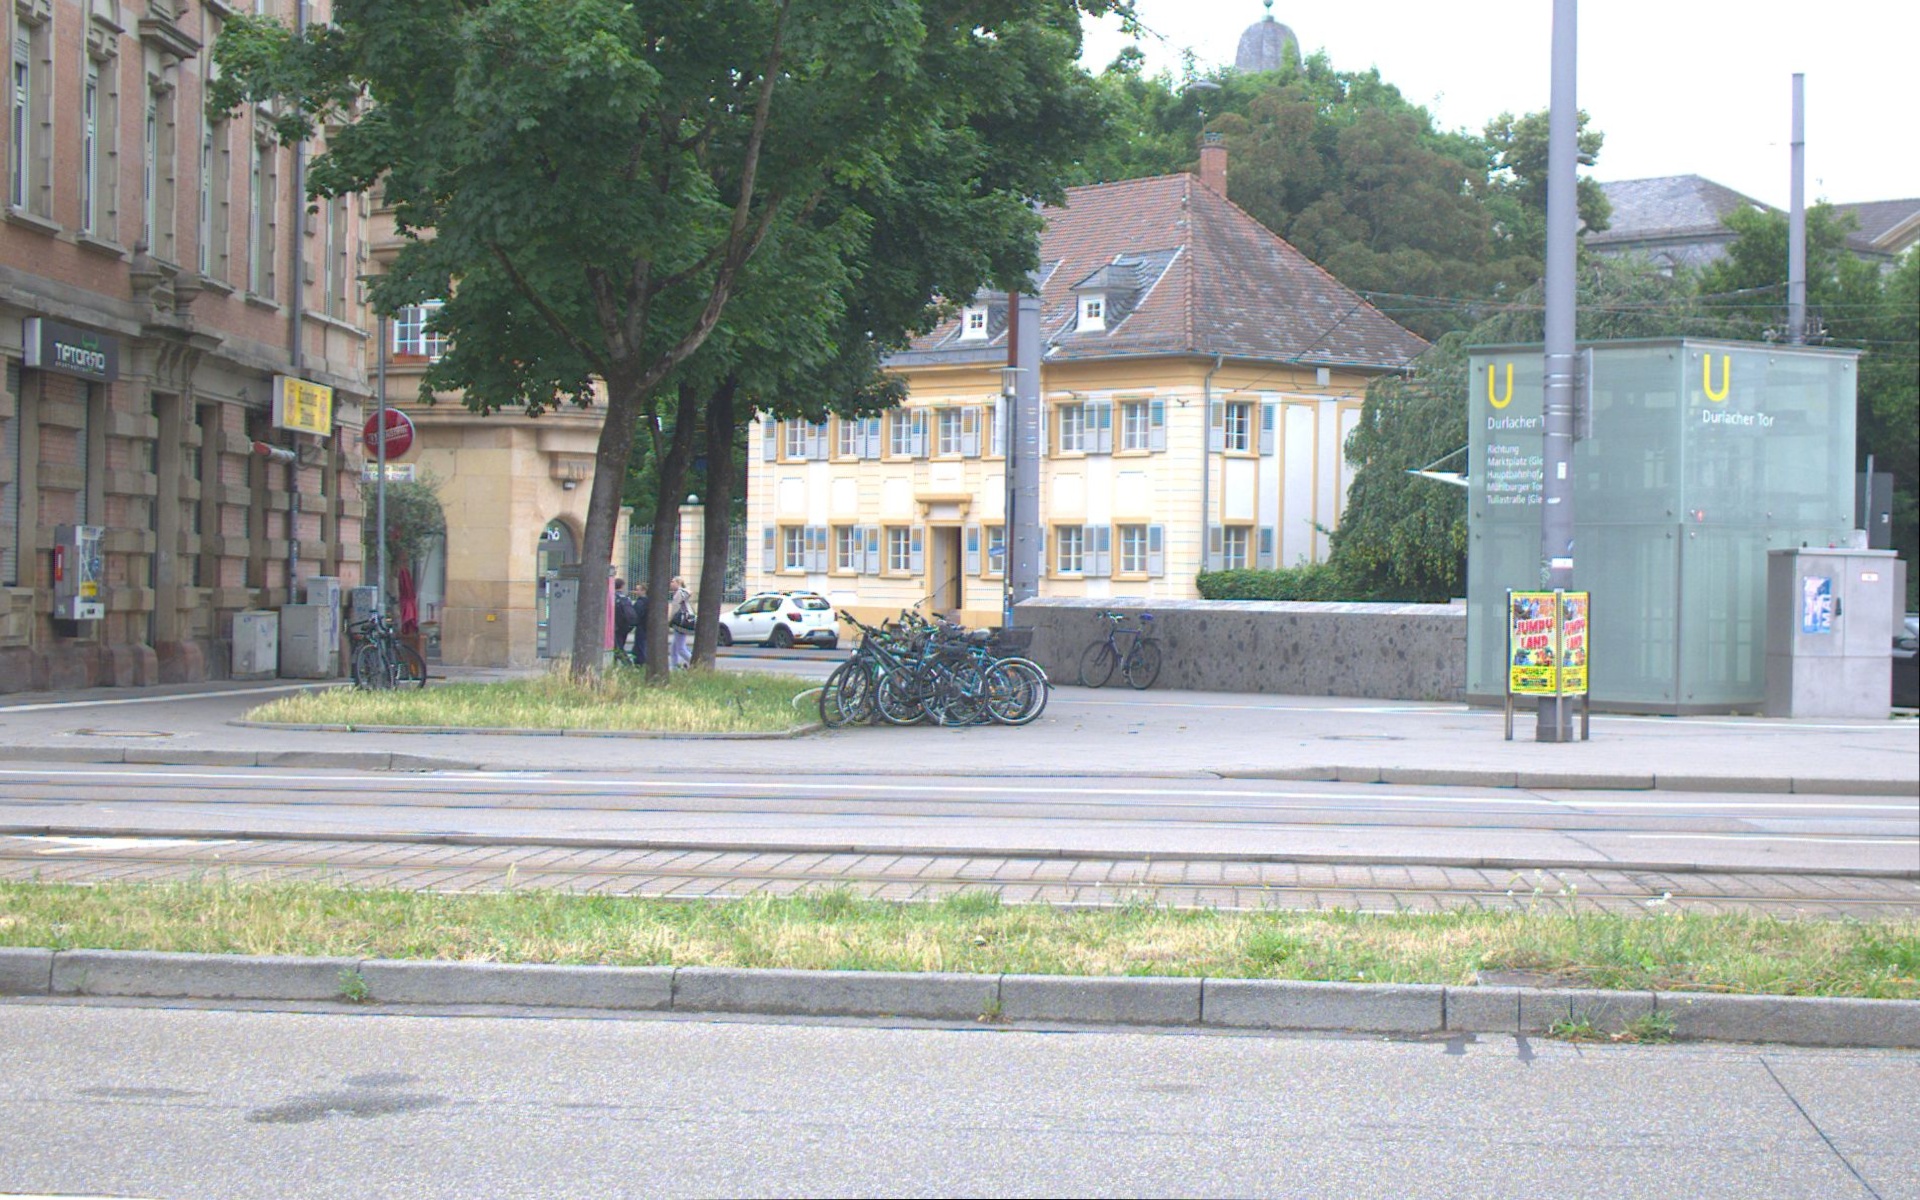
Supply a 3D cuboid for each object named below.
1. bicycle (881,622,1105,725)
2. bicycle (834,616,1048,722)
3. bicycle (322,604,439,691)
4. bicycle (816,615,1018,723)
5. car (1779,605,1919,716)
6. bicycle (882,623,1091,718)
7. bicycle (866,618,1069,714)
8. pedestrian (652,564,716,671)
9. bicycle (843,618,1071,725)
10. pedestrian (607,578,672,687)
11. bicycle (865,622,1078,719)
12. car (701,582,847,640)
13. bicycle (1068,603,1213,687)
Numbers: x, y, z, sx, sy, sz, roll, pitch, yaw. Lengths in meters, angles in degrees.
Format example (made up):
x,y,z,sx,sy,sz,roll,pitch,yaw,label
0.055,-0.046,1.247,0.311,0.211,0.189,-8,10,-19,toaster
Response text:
x,y,z,sx,sy,sz,roll,pitch,yaw,label
0.338,0.741,35.072,2.214,0.983,0.500,1,0,13,bicycle
-0.187,0.671,33.812,2.032,0.983,0.521,1,0,13,bicycle
-6.405,0.517,38.100,0.660,0.911,1.989,1,1,9,bicycle
-0.415,0.660,33.086,1.864,0.983,0.500,1,0,11,bicycle
13.398,0.843,47.237,1.691,1.444,4.143,1,1,-32,car
0.294,0.777,37.999,2.214,0.983,0.585,1,0,13,bicycle
0.087,0.745,39.270,2.214,1.035,0.688,1,0,13,bicycle
-4.519,0.275,56.339,0.844,1.717,0.952,1,1,6,pedestrian
-0.028,0.708,34.356,2.214,1.002,0.480,1,0,13,bicycle
-5.138,0.507,55.112,0.844,1.717,0.952,1,1,6,pedestrian
0.124,0.749,37.017,2.214,0.983,0.500,1,0,13,bicycle
-5.007,0.288,91.994,1.692,1.444,4.186,0,1,-40,car
2.543,0.629,48.671,0.738,1.111,2.363,1,1,-35,bicycle
